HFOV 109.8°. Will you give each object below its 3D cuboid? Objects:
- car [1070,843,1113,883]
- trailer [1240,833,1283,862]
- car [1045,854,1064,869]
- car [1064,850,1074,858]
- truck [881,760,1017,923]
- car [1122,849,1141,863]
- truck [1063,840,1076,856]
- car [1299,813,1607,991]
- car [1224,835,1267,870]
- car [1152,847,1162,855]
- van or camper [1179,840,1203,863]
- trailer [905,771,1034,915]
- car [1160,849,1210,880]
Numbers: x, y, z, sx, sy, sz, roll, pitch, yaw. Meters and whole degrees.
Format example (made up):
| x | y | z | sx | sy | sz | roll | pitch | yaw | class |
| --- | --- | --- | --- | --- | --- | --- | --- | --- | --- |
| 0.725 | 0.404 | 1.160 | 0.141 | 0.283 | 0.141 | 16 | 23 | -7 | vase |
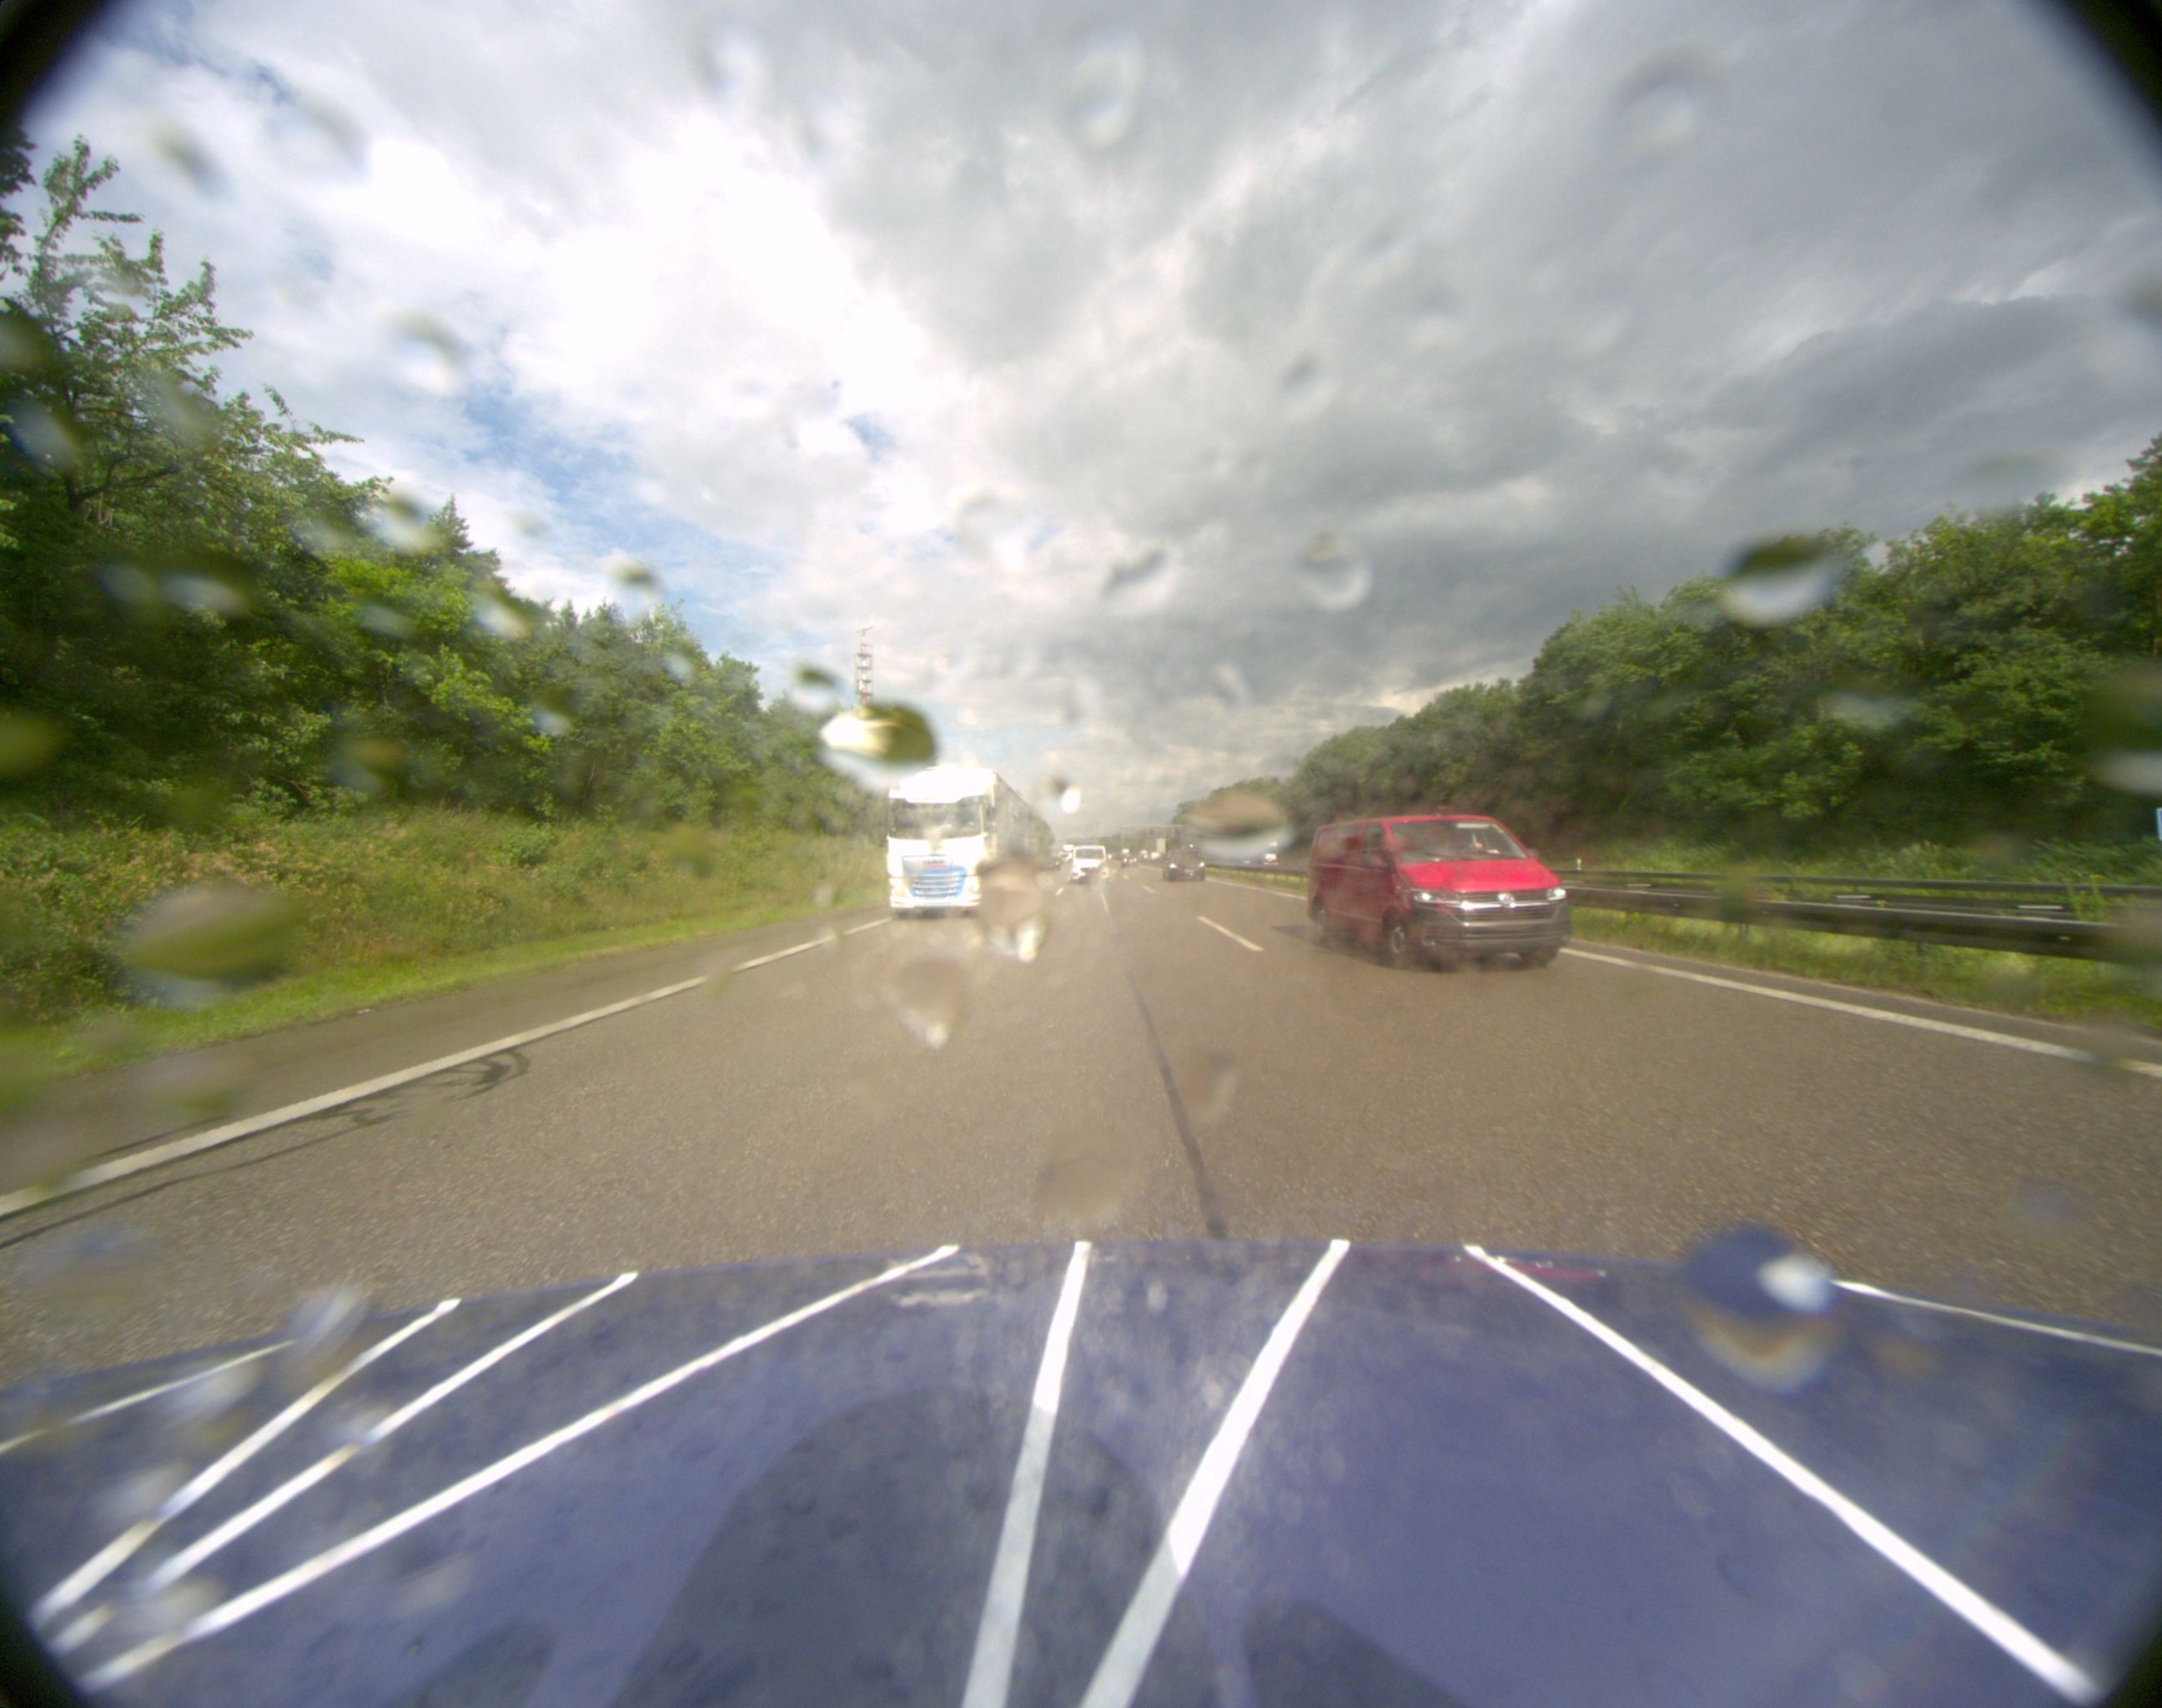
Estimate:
| x | y | z | sx | sy | sz | roll | pitch | yaw | class |
| --- | --- | --- | --- | --- | --- | --- | --- | --- | --- |
| 0.538 | 0.438 | 41.888 | 2.124 | 1.988 | 5.982 | -2 | 1 | 0 | car |
| 26.956 | -0.979 | 114.510 | 2.997 | 3.809 | 17.953 | -3 | 1 | 3 | trailer |
| -2.795 | 0.787 | 82.190 | 1.799 | 1.410 | 4.838 | -2 | 1 | 0 | car |
| -2.272 | 0.071 | 145.665 | 1.799 | 1.410 | 4.838 | -2 | 1 | 0 | car |
| -3.581 | -0.336 | 22.564 | 2.613 | 3.972 | 7.289 | -2 | 1 | 0 | truck |
| 5.681 | 0.193 | 85.558 | 1.799 | 1.410 | 4.838 | -2 | 1 | 0 | car |
| -2.844 | -1.481 | 190.486 | 3.064 | 3.827 | 8.799 | -1 | 0 | -1 | truck |
| 4.714 | 0.498 | 10.621 | 1.927 | 1.855 | 4.838 | -2 | 1 | 0 | car |
| 14.536 | -0.154 | 67.587 | 2.268 | 2.853 | 6.889 | -2 | 1 | 0 | car |
| 18.691 | -0.788 | 186.543 | 1.873 | 1.935 | 5.040 | -2 | 1 | -1 | car |
| 14.870 | -0.352 | 103.201 | 2.268 | 2.853 | 6.838 | -2 | 1 | 0 | van or camper |
| -3.594 | -0.368 | 28.612 | 2.641 | 3.972 | 14.062 | -2 | 1 | 0 | trailer |
| 5.521 | 0.494 | 40.893 | 2.009 | 1.488 | 4.838 | -2 | 1 | 0 | car |
